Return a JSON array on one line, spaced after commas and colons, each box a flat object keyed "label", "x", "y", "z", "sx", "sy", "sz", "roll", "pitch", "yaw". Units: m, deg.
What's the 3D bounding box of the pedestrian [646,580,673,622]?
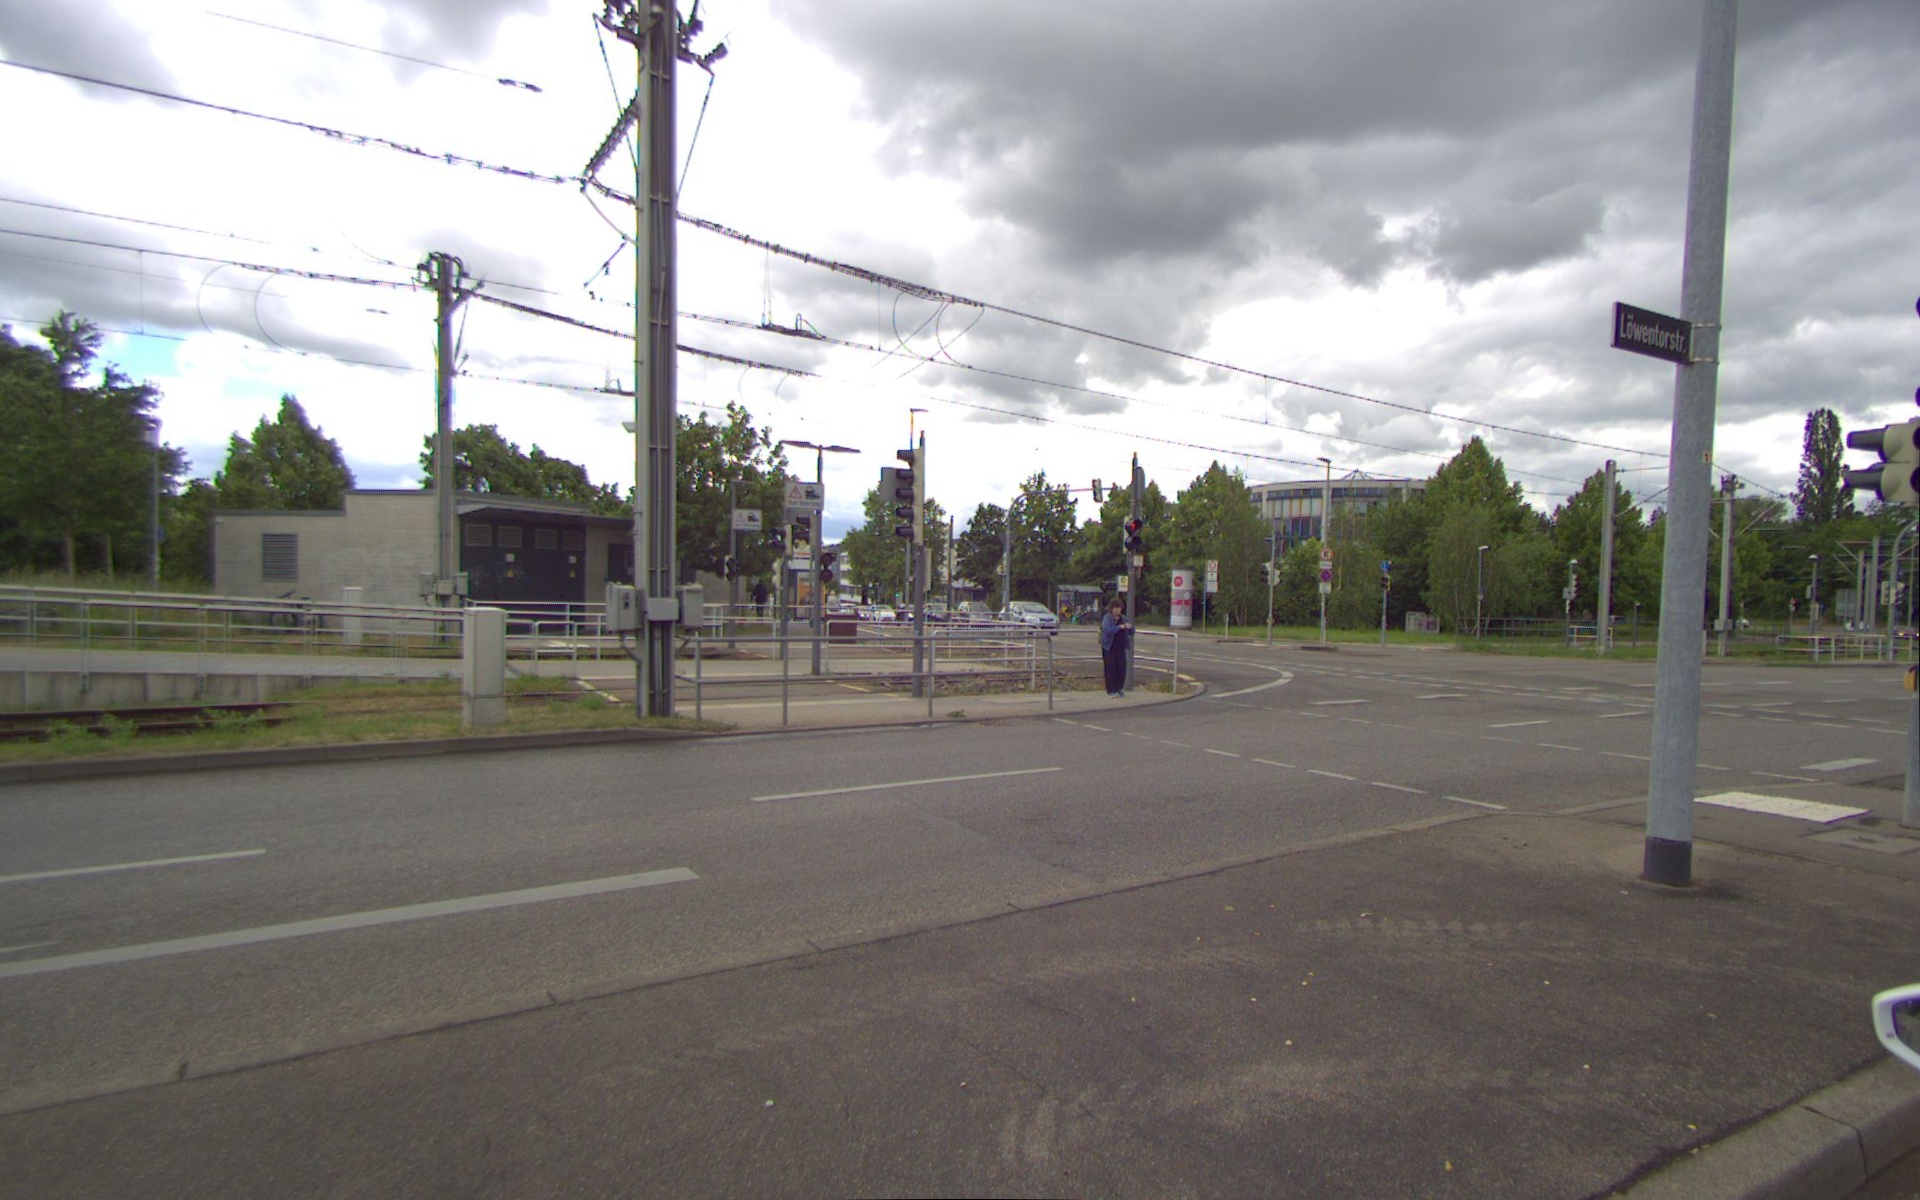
[{"label": "pedestrian", "x": -9.954, "y": 0.043, "z": 33.257, "sx": 0.590, "sy": 1.377, "sz": 0.616, "roll": 2, "pitch": 0, "yaw": 18}]

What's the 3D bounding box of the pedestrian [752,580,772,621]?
[{"label": "pedestrian", "x": -8.582, "y": 0.028, "z": 43.561, "sx": 0.700, "sy": 1.751, "sz": 0.674, "roll": 2, "pitch": 0, "yaw": -19}]

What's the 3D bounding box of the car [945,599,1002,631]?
[{"label": "car", "x": 0.661, "y": 0.792, "z": 53.864, "sx": 1.776, "sy": 1.617, "sz": 3.982, "roll": 2, "pitch": 0, "yaw": -20}]

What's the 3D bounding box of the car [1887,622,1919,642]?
[{"label": "car", "x": 92.621, "y": 3.114, "z": 98.146, "sx": 1.842, "sy": 1.815, "sz": 3.996, "roll": 2, "pitch": 0, "yaw": 26}]

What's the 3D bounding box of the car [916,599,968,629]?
[{"label": "car", "x": -1.069, "y": 0.759, "z": 58.038, "sx": 1.776, "sy": 1.617, "sz": 3.982, "roll": 2, "pitch": 0, "yaw": -20}]

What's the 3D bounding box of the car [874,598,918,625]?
[{"label": "car", "x": -4.155, "y": 0.695, "z": 64.574, "sx": 1.776, "sy": 1.617, "sz": 3.982, "roll": 2, "pitch": 0, "yaw": -20}]

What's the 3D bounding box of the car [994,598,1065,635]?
[{"label": "car", "x": 3.192, "y": 0.732, "z": 46.898, "sx": 1.848, "sy": 1.617, "sz": 3.982, "roll": 2, "pitch": 0, "yaw": -20}]

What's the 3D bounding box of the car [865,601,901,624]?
[{"label": "car", "x": -5.770, "y": 0.922, "z": 74.898, "sx": 1.775, "sy": 1.617, "sz": 3.985, "roll": 2, "pitch": 0, "yaw": -17}]

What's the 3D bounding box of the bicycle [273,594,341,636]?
[{"label": "bicycle", "x": -17.370, "y": 0.393, "z": 26.709, "sx": 1.778, "sy": 1.045, "sz": 0.536, "roll": 2, "pitch": 0, "yaw": 21}]

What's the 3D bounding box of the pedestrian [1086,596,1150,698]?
[{"label": "pedestrian", "x": 2.480, "y": 0.729, "z": 15.770, "sx": 0.712, "sy": 1.557, "sz": 0.630, "roll": 2, "pitch": 0, "yaw": -33}]

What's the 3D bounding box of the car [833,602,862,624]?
[{"label": "car", "x": -9.745, "y": 1.128, "z": 86.821, "sx": 1.869, "sy": 1.805, "sz": 3.988, "roll": 1, "pitch": 0, "yaw": -14}]

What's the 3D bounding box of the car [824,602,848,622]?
[{"label": "car", "x": -11.612, "y": 1.104, "z": 93.760, "sx": 1.869, "sy": 1.805, "sz": 3.990, "roll": 1, "pitch": 0, "yaw": -13}]

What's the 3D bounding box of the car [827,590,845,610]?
[{"label": "car", "x": -14.615, "y": -0.014, "z": 118.106, "sx": 1.964, "sy": 2.218, "sz": 5.800, "roll": 1, "pitch": 0, "yaw": -9}]
